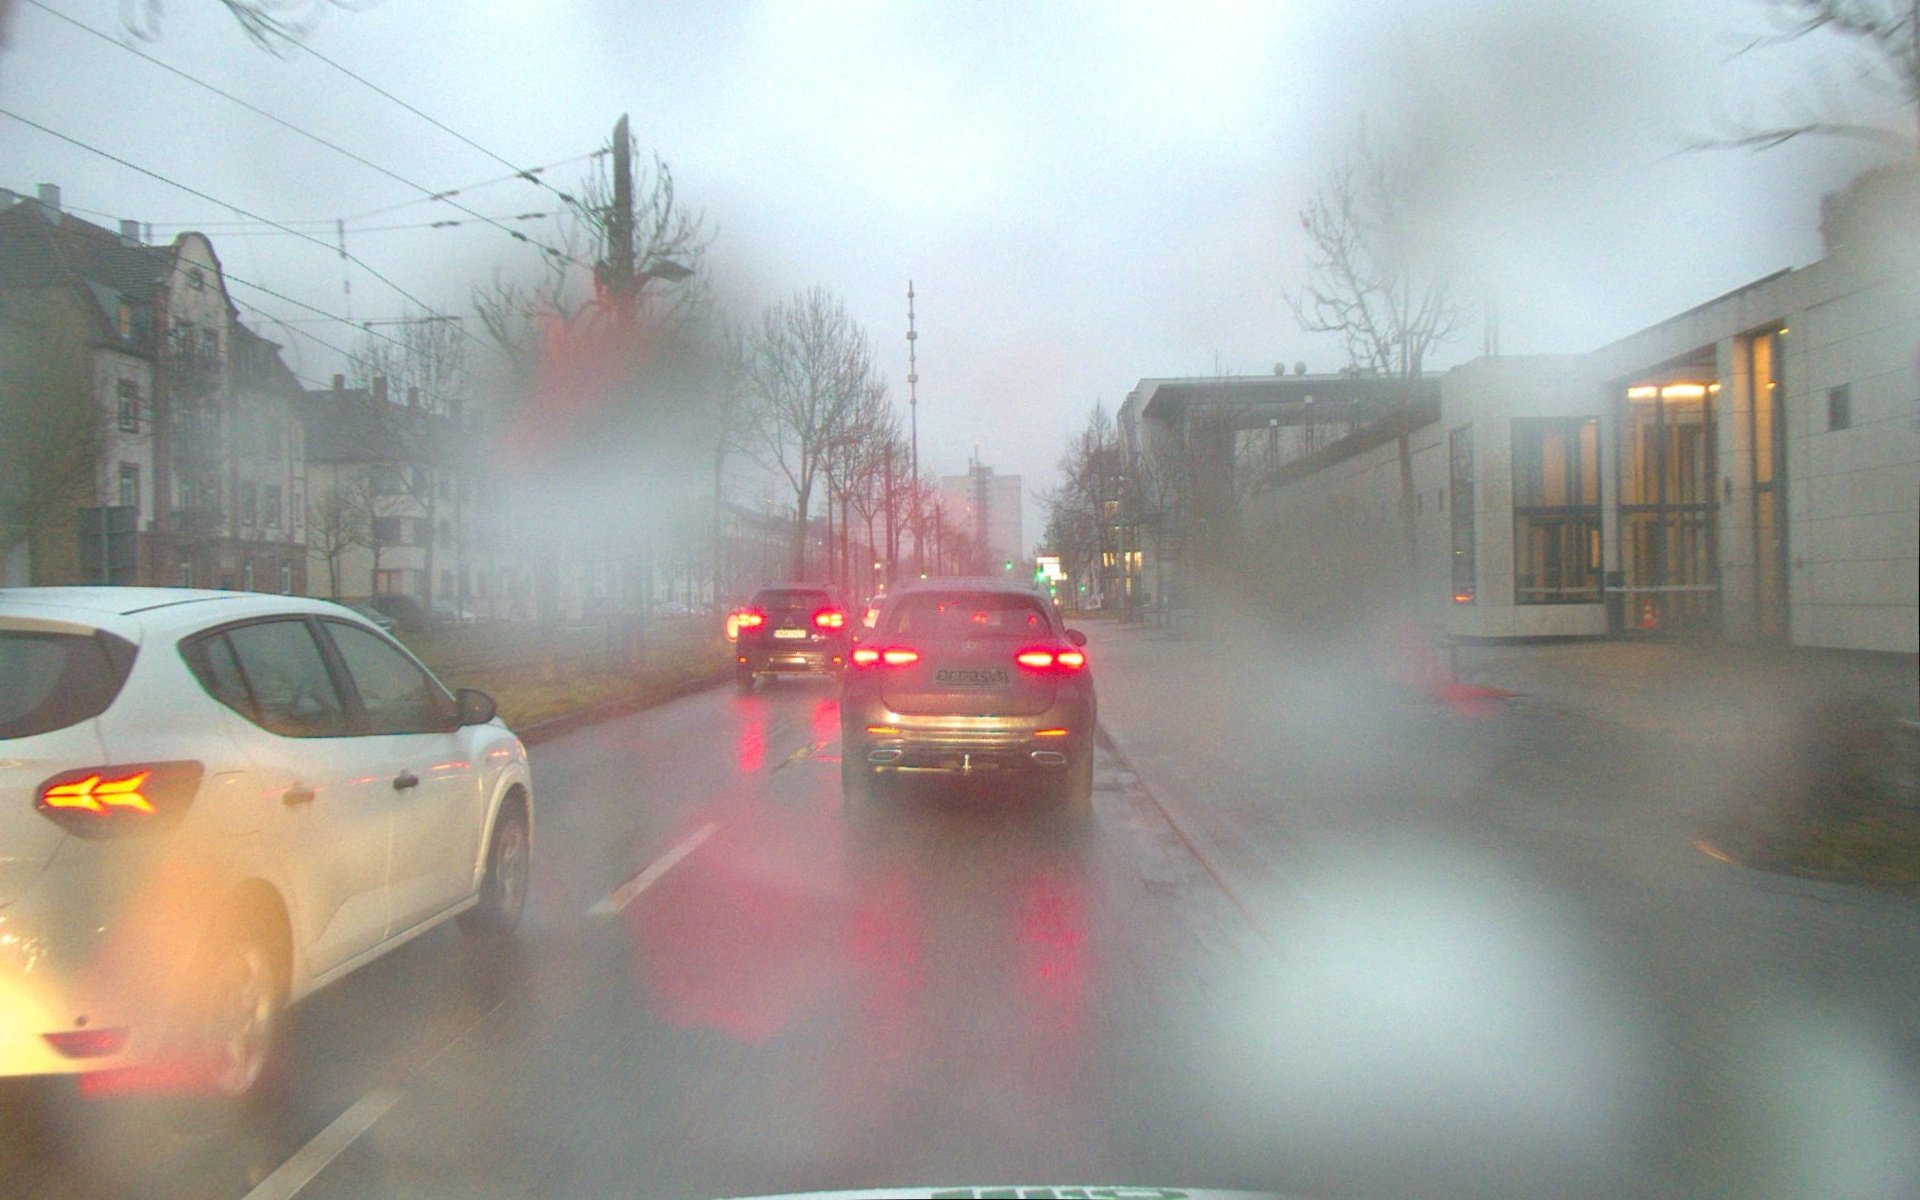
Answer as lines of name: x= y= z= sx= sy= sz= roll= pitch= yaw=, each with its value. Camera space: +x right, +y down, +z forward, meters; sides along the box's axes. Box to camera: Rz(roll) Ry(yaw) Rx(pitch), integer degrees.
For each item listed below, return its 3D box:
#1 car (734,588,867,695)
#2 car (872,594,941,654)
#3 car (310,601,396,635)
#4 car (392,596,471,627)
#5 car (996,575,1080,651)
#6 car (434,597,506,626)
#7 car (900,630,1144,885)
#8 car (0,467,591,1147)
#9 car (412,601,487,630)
car: x=-2.551 y=0.634 z=27.339 sx=1.637 sy=1.628 sz=4.055 roll=0 pitch=0 yaw=2
car: x=-1.473 y=0.639 z=46.733 sx=1.637 sy=1.628 sz=4.055 roll=0 pitch=0 yaw=2
car: x=-25.793 y=0.763 z=70.250 sx=3.485 sy=1.378 sz=1.775 roll=-1 pitch=0 yaw=36
car: x=-24.847 y=0.528 z=77.751 sx=3.485 sy=1.378 sz=1.775 roll=-1 pitch=0 yaw=36
car: x=1.925 y=0.299 z=41.137 sx=1.952 sy=1.774 sz=4.001 roll=-1 pitch=0 yaw=2
car: x=-25.009 y=0.592 z=84.450 sx=3.485 sy=1.378 sz=1.775 roll=-1 pitch=0 yaw=36
car: x=0.501 y=1.095 z=13.148 sx=1.637 sy=1.628 sz=4.055 roll=0 pitch=0 yaw=2
car: x=-2.593 y=0.492 z=5.984 sx=1.638 sy=1.628 sz=4.053 roll=0 pitch=0 yaw=-1
car: x=-24.966 y=0.759 z=80.883 sx=3.485 sy=1.378 sz=1.775 roll=-1 pitch=0 yaw=36
